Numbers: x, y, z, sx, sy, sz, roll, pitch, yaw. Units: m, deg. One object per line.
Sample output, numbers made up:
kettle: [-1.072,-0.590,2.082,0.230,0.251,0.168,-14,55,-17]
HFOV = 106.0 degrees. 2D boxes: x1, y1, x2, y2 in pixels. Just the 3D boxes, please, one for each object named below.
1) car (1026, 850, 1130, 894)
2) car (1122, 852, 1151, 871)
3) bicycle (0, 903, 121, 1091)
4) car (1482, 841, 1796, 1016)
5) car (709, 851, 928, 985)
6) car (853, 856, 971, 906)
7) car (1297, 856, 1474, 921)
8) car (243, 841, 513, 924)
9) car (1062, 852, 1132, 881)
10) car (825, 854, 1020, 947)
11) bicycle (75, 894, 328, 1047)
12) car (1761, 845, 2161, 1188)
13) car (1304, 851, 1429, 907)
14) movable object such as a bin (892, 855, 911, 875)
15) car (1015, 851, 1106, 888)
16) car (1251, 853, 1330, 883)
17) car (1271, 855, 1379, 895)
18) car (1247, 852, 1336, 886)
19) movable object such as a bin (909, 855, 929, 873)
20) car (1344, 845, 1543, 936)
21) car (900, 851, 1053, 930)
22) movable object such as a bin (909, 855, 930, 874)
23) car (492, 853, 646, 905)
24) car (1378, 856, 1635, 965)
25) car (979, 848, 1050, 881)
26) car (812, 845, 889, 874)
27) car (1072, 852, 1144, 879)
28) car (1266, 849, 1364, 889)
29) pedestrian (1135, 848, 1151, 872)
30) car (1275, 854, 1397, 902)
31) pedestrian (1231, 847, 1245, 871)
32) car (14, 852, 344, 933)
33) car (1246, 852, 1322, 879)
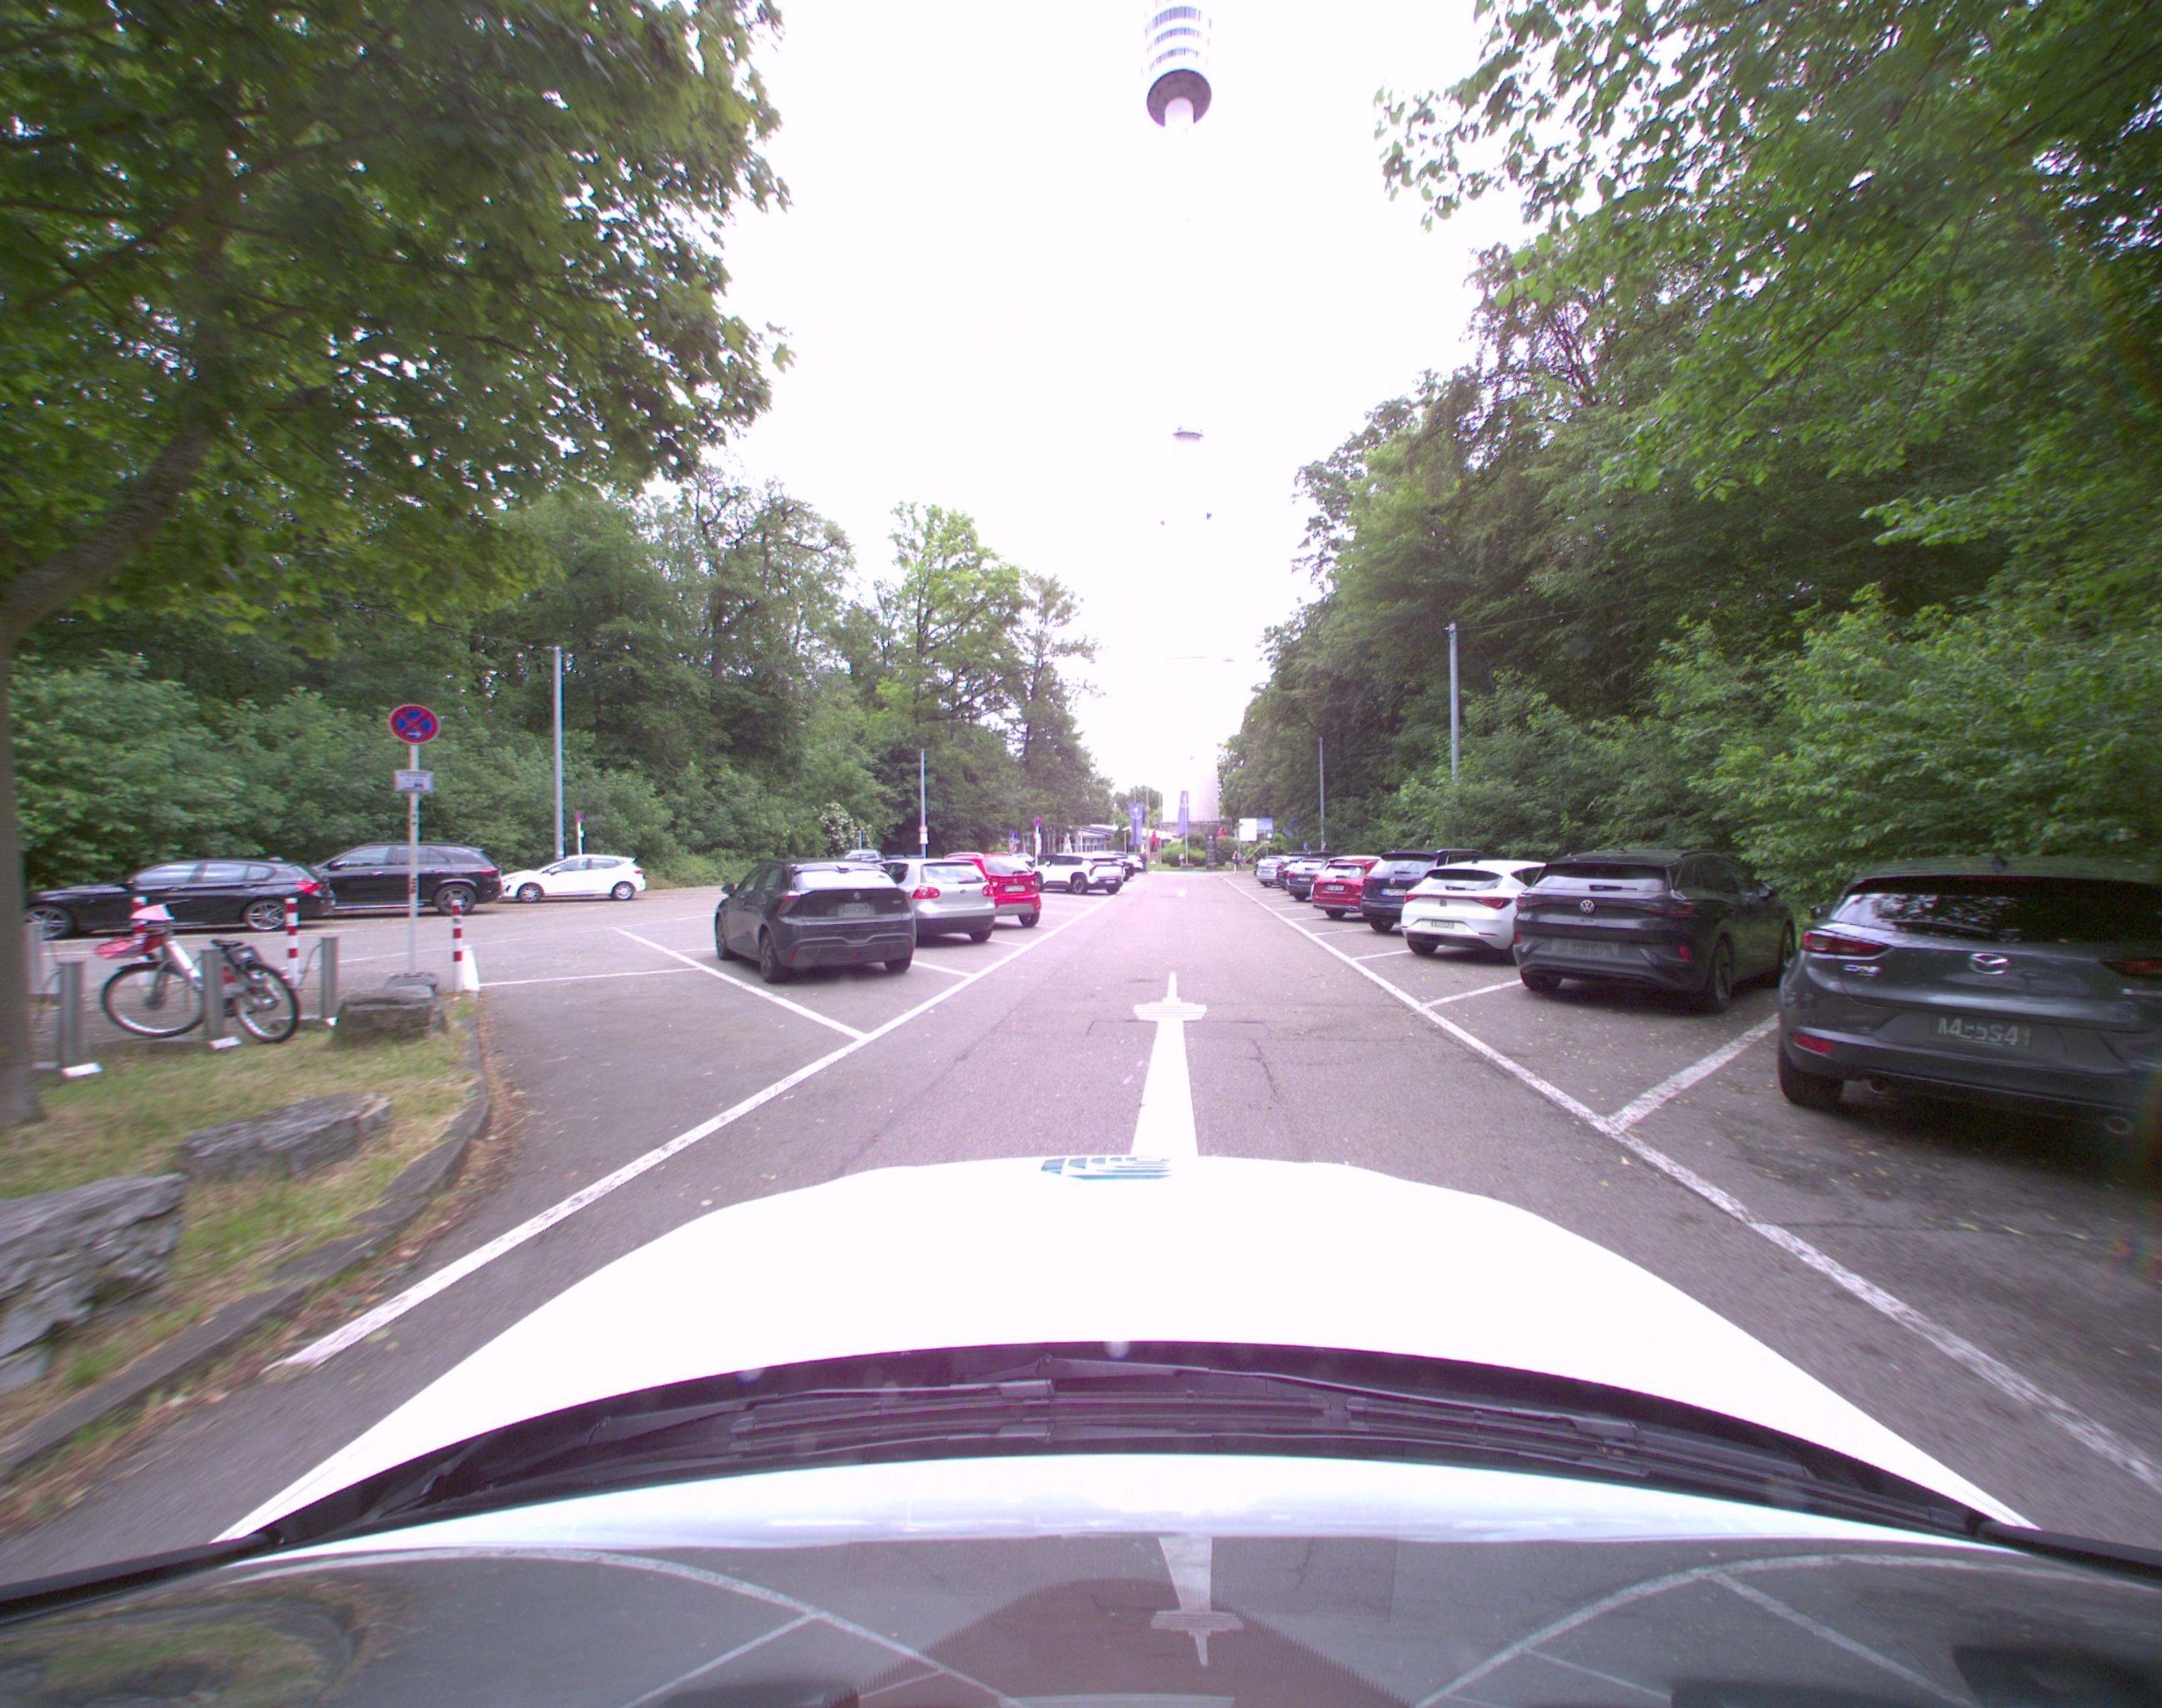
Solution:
car: [-0.165,0.634,31.832,1.856,1.596,4.141,-1,0,-40]
car: [4.303,0.547,62.886,1.882,1.428,4.010,0,0,9]
bicycle: [-7.310,0.897,5.370,1.669,1.111,0.484,0,0,10]
car: [6.593,0.669,9.448,4.224,1.580,1.935,0,0,-40]
car: [-3.841,0.729,11.449,1.838,1.523,4.056,0,0,-35]
car: [-5.473,0.784,26.045,1.879,1.442,4.265,0,0,-40]
car: [7.469,0.764,19.858,4.312,1.414,1.908,0,0,-34]
car: [-16.586,0.588,19.606,4.730,1.767,2.089,0,0,-37]
car: [0.799,0.636,43.185,1.781,1.443,3.803,0,0,-37]
car: [-3.059,0.752,15.134,1.886,1.483,3.953,0,0,-40]
bicycle: [-7.026,0.894,6.517,1.772,1.111,0.484,0,0,10]
car: [5.861,0.709,5.149,3.810,1.492,1.680,0,0,-39]
car: [8.403,0.685,23.874,3.598,1.505,1.716,0,0,-36]
movable object such as a bin: [-12.233,0.722,55.461,1.128,1.314,1.176,0,0,-22]
car: [-0.963,0.637,36.568,1.884,1.554,3.951,-1,0,-44]
car: [10.736,0.673,41.715,4.019,1.422,1.888,0,0,-38]
car: [9.397,0.758,31.247,4.284,1.377,1.942,0,0,-40]
car: [9.902,0.667,38.197,4.015,1.467,1.816,-1,1,-33]
movable object such as a bin: [-11.533,0.704,58.136,1.251,1.325,1.144,0,0,-5]
car: [7.388,0.653,16.480,4.136,1.618,1.822,0,0,-35]
car: [-2.422,0.730,18.273,1.695,1.585,3.611,0,0,-40]
movable object such as a bin: [-11.094,0.708,55.844,1.173,1.307,1.303,0,0,-22]
car: [-16.218,0.723,25.858,4.018,1.510,1.849,0,0,-37]
car: [6.703,0.749,12.706,4.136,1.438,1.850,0,0,-35]
car: [-3.638,0.542,43.855,1.908,1.663,3.953,0,0,-40]
car: [-13.779,0.294,48.805,4.089,1.685,1.859,0,0,-36]
car: [1.469,0.625,46.156,1.769,1.443,4.229,0,0,-39]
car: [10.174,0.609,35.254,4.282,1.636,1.943,0,0,-38]
pedestrian: [4.439,0.422,58.268,0.897,1.725,0.759,0,0,-22]
car: [8.563,0.733,27.202,4.206,1.457,1.784,0,0,-37]
pedestrian: [11.317,0.340,58.740,0.755,1.725,0.902,0,0,25]
car: [-17.088,0.657,15.779,4.018,1.376,1.720,0,0,-37]
car: [11.381,0.614,45.520,4.224,1.462,1.878,0,0,-37]
